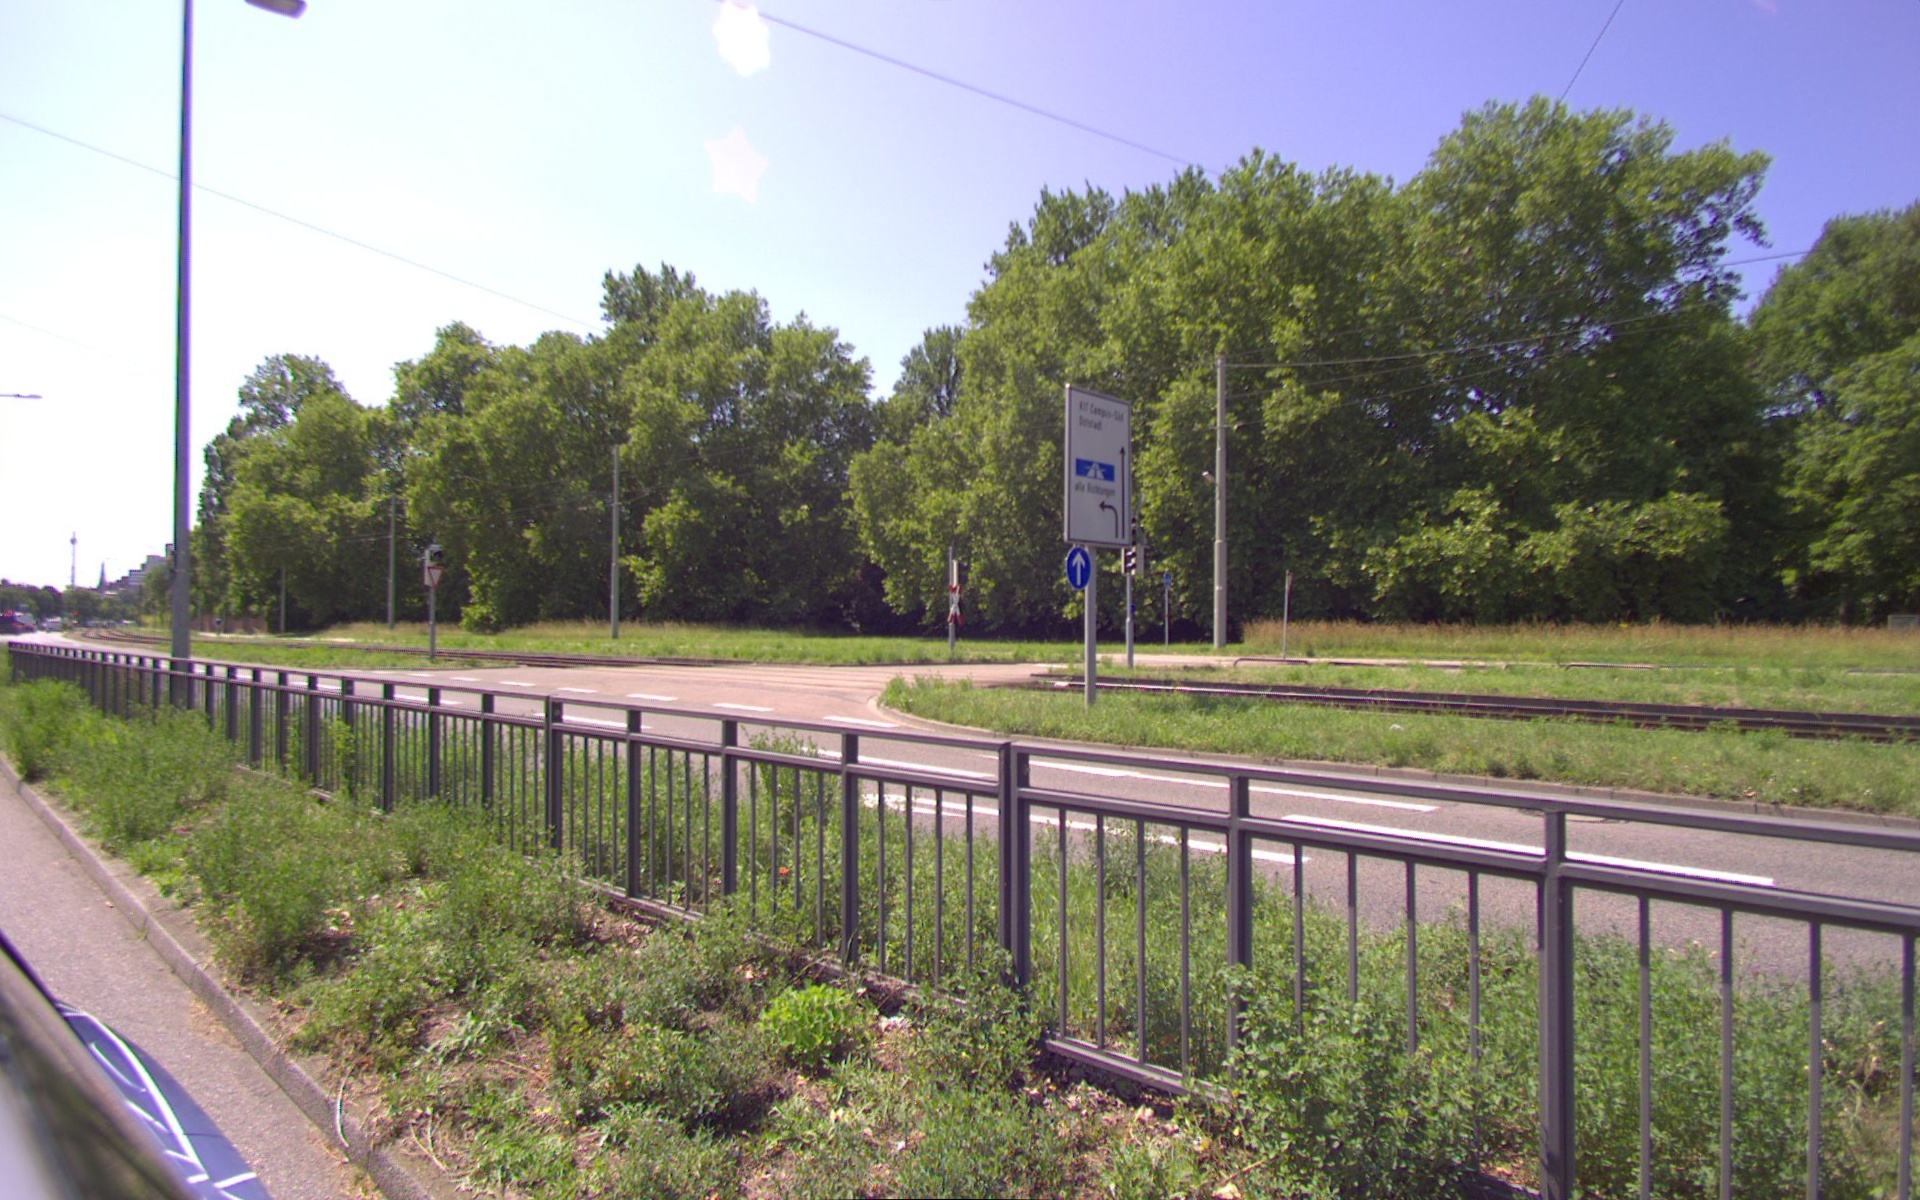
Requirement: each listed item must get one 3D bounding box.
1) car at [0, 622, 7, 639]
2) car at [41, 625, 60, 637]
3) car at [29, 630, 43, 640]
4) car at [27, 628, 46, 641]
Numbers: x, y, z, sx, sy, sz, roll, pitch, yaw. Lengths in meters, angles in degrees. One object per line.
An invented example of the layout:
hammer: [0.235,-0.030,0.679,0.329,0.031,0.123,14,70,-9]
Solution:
car: [-107.831,3.418,113.041,1.970,1.871,4.004,1,-2,-43]
car: [-136.598,4.643,151.945,1.970,1.871,4.003,1,-2,-44]
car: [-170.013,6.380,186.203,1.970,1.871,4.004,1,-2,-43]
car: [-141.928,5.256,155.475,1.970,1.871,4.003,1,-2,-44]
